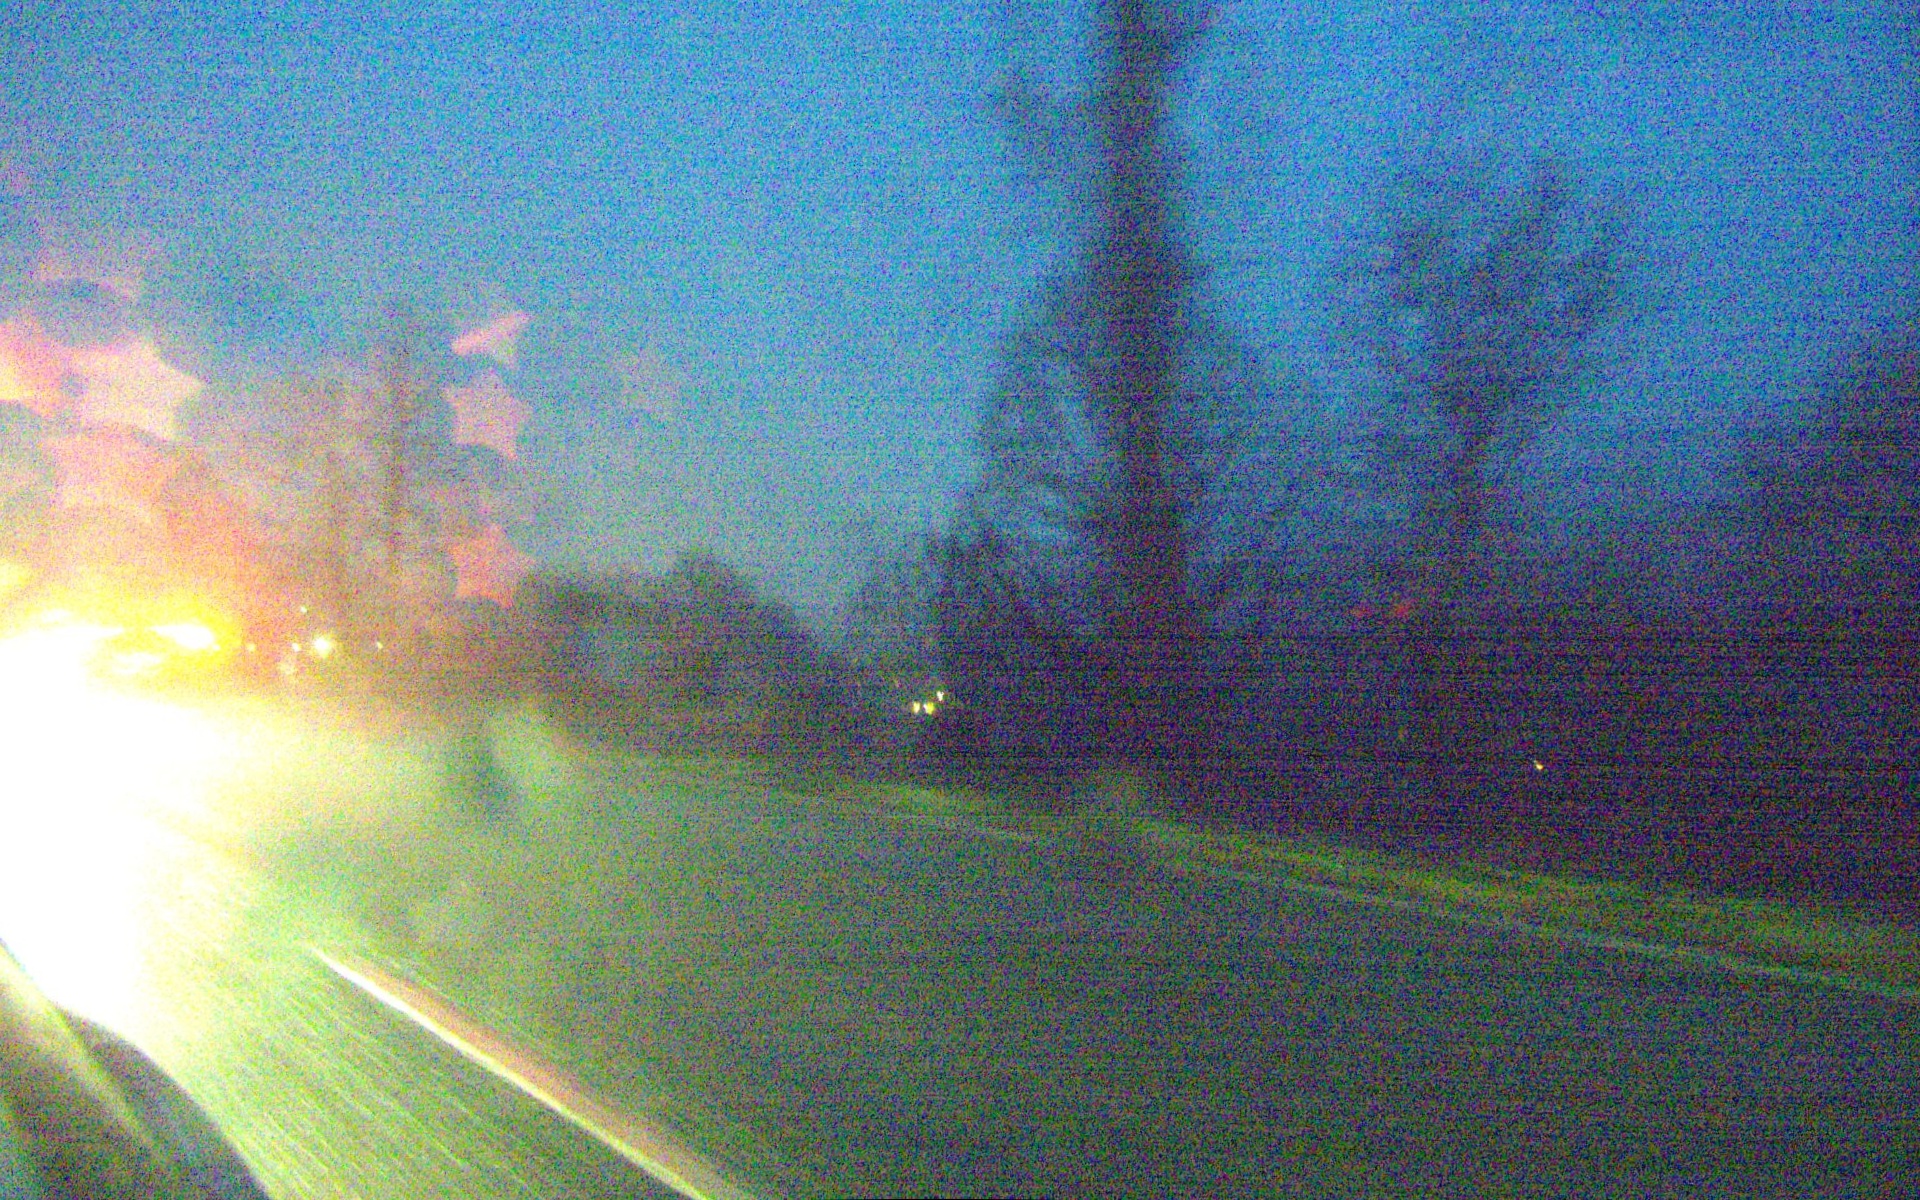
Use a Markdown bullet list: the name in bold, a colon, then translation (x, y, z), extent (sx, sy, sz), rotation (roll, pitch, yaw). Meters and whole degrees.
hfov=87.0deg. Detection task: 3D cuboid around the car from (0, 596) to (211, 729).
- **car**: translation (-12.983, 0.890, 15.201), extent (3.955, 1.733, 1.824), rotation (-2, -2, 39)
